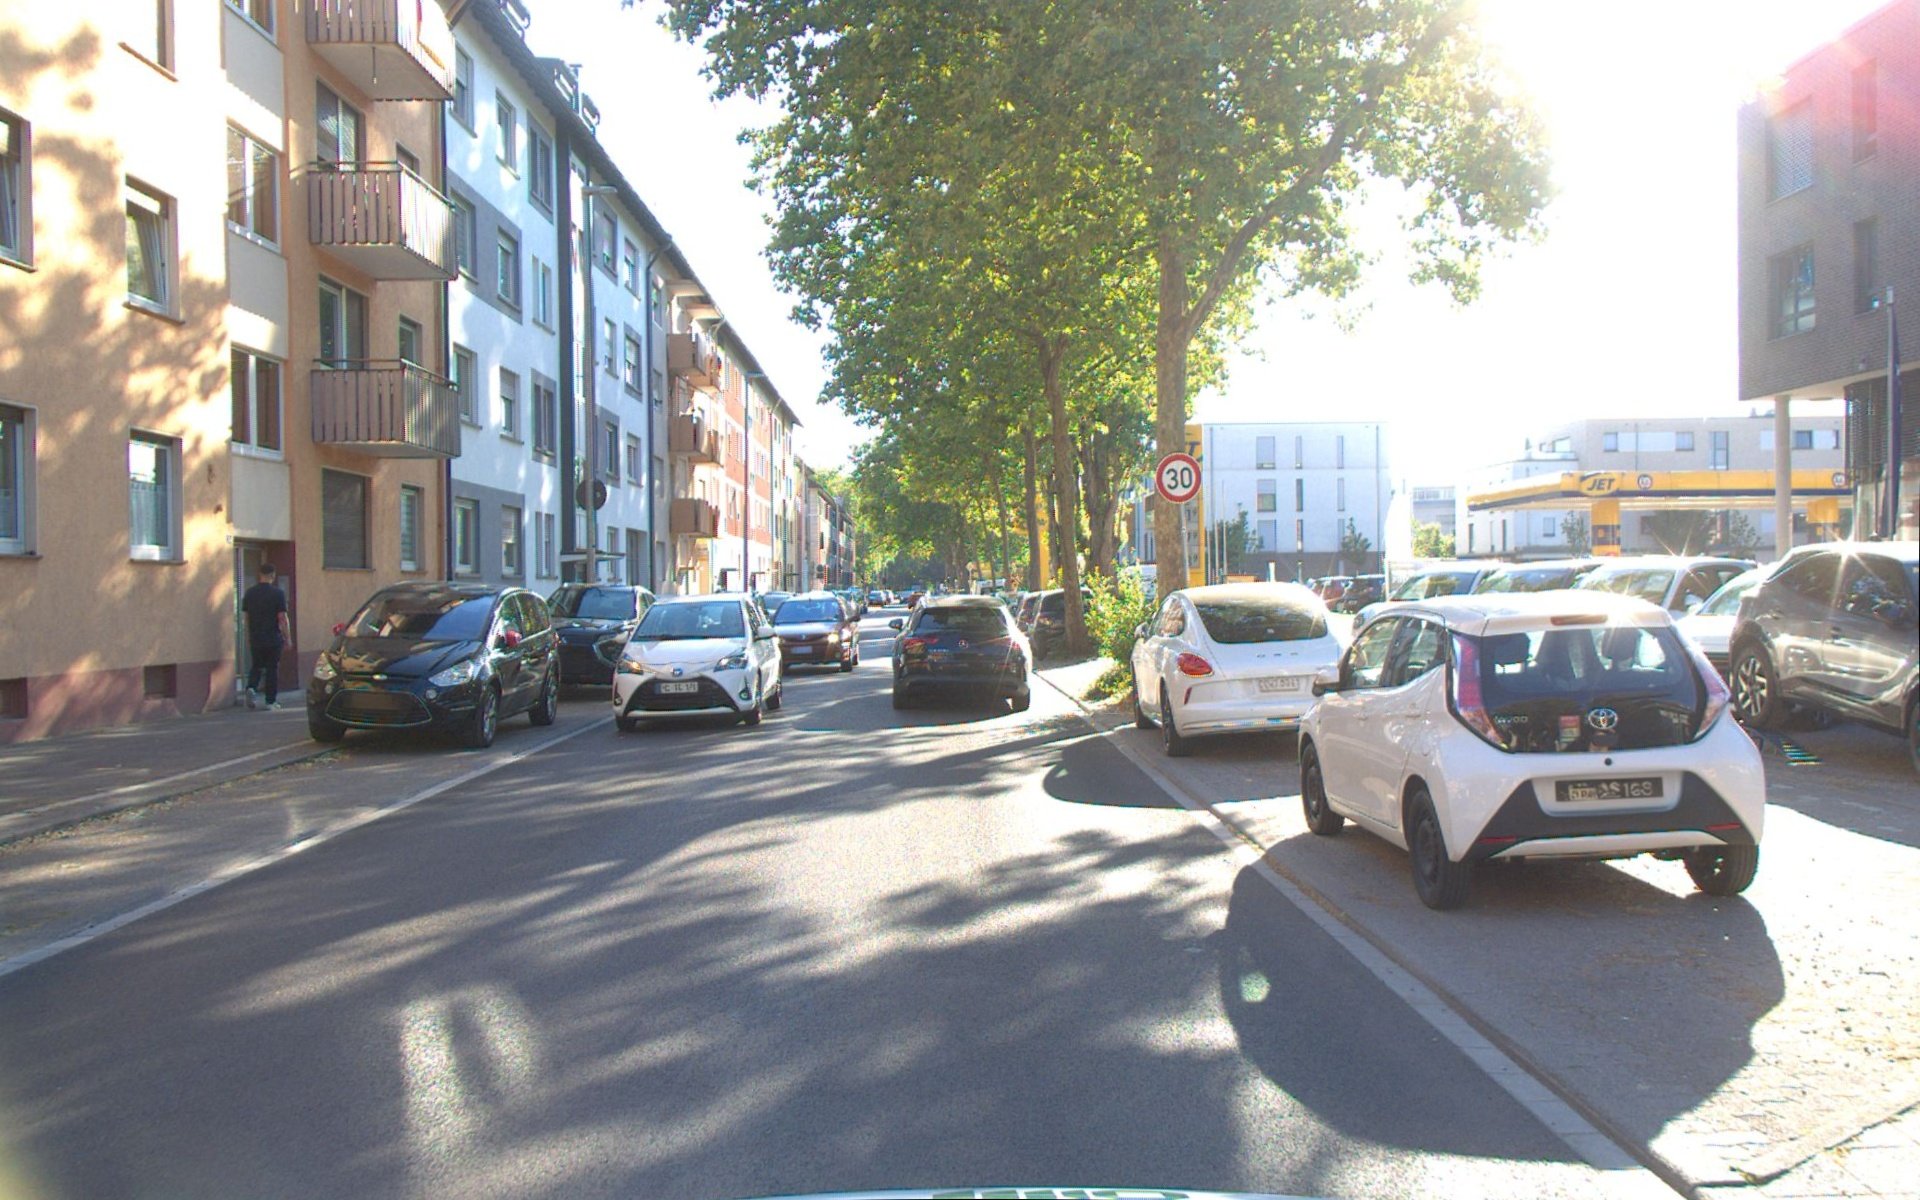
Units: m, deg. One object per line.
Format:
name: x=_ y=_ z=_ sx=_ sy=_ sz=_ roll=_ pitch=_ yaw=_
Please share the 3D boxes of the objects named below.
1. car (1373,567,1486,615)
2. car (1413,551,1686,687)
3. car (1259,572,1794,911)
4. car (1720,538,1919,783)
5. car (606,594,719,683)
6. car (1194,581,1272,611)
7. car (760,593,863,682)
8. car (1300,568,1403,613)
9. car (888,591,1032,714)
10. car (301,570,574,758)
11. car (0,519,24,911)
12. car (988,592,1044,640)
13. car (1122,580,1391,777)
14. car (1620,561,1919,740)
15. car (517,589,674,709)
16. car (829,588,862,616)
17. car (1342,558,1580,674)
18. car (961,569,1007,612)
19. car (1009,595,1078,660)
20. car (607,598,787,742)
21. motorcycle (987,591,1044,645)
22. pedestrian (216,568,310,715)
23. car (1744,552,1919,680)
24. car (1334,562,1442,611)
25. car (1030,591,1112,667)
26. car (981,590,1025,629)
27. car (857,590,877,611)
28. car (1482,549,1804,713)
car: x=16.735 y=-0.324 z=58.906 sx=3.782 sy=1.616 sz=1.682 roll=-2 pitch=0 yaw=-28
car: x=7.978 y=0.208 z=22.268 sx=3.781 sy=1.606 sz=1.717 roll=-3 pitch=1 yaw=-38
car: x=2.998 y=0.664 z=9.696 sx=1.602 sy=1.493 sz=4.020 roll=-3 pitch=0 yaw=-2
car: x=7.496 y=0.393 z=12.297 sx=1.716 sy=1.699 sz=4.157 roll=-1 pitch=0 yaw=-1
car: x=-5.623 y=0.688 z=31.637 sx=1.516 sy=1.550 sz=4.004 roll=1 pitch=0 yaw=-2
car: x=14.874 y=-0.210 z=90.183 sx=3.907 sy=1.556 sz=1.806 roll=0 pitch=-1 yaw=-3
car: x=-2.863 y=0.675 z=32.593 sx=1.630 sy=1.550 sz=4.411 roll=-2 pitch=0 yaw=-1
car: x=16.149 y=-0.401 z=68.248 sx=3.768 sy=1.741 sz=1.831 roll=-2 pitch=0 yaw=-19
car: x=0.089 y=0.629 z=22.136 sx=1.708 sy=1.468 sz=3.970 roll=1 pitch=0 yaw=3
car: x=-5.643 y=0.607 z=18.472 sx=1.710 sy=1.819 sz=4.548 roll=1 pitch=0 yaw=-2
car: x=-5.609 y=0.588 z=5.778 sx=1.698 sy=1.940 sz=5.209 roll=0 pitch=0 yaw=0
car: x=1.901 y=0.540 z=57.107 sx=1.687 sy=1.585 sz=3.600 roll=1 pitch=0 yaw=-2
car: x=2.757 y=0.673 z=16.418 sx=1.773 sy=1.565 sz=4.583 roll=-4 pitch=0 yaw=0
car: x=8.466 y=0.422 z=16.546 sx=3.774 sy=1.572 sz=1.643 roll=-2 pitch=0 yaw=-34
car: x=-5.543 y=0.687 z=25.620 sx=1.564 sy=1.669 sz=4.411 roll=1 pitch=0 yaw=-2
car: x=-6.935 y=0.095 z=100.536 sx=1.678 sy=1.589 sz=3.800 roll=3 pitch=0 yaw=-1
car: x=7.903 y=0.202 z=25.984 sx=3.781 sy=1.606 sz=1.722 roll=-3 pitch=1 yaw=-38
car: x=1.175 y=-0.439 z=82.332 sx=1.954 sy=2.049 sz=3.996 roll=0 pitch=-1 yaw=-4
car: x=2.176 y=0.700 z=43.852 sx=1.528 sy=1.624 sz=3.600 roll=1 pitch=0 yaw=-2
car: x=-3.104 y=0.767 z=20.224 sx=1.606 sy=1.550 sz=3.933 roll=0 pitch=0 yaw=-1
motorcycle: x=1.684 y=0.545 z=49.874 sx=1.619 sy=1.585 sz=0.607 roll=1 pitch=0 yaw=-23
pedestrian: x=-8.748 y=0.507 z=20.791 sx=0.750 sy=1.800 sz=0.933 roll=1 pitch=0 yaw=-1
car: x=12.292 y=0.155 z=22.168 sx=3.778 sy=1.537 sz=1.622 roll=-3 pitch=1 yaw=-36
car: x=16.417 y=-0.510 z=63.402 sx=3.782 sy=1.741 sz=1.824 roll=-2 pitch=0 yaw=-28
car: x=2.492 y=0.635 z=37.824 sx=1.528 sy=1.624 sz=3.600 roll=1 pitch=0 yaw=-2
car: x=1.768 y=0.387 z=69.164 sx=1.600 sy=1.585 sz=3.600 roll=1 pitch=0 yaw=-2
car: x=-9.274 y=0.076 z=165.765 sx=1.868 sy=1.982 sz=3.998 roll=0 pitch=-1 yaw=-2
car: x=7.921 y=0.290 z=19.079 sx=3.778 sy=1.637 sz=1.719 roll=-3 pitch=1 yaw=-36
